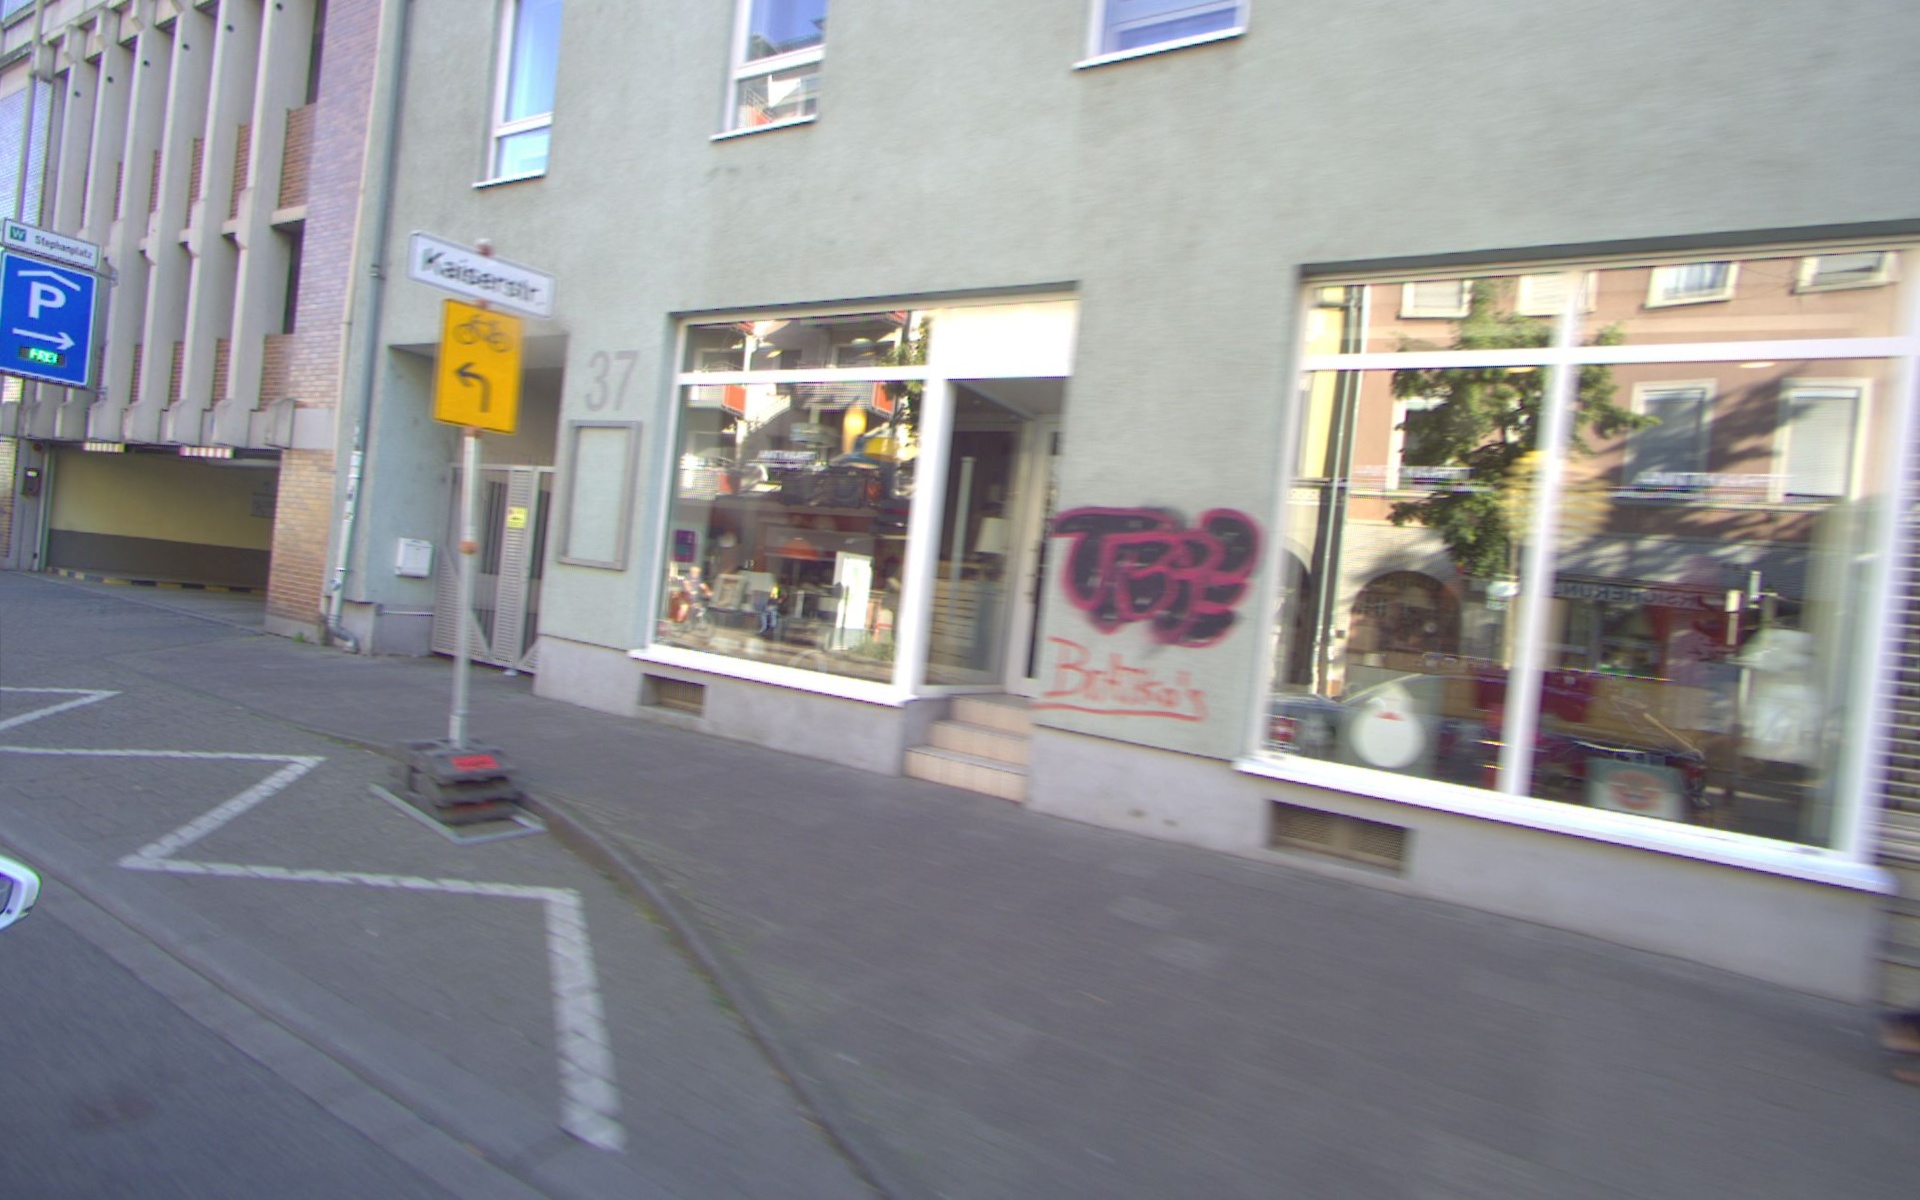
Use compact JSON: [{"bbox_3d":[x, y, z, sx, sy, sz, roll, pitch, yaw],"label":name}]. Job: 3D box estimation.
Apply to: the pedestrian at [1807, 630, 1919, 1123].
[{"bbox_3d":[3.599,0.946,3.300,1.003,1.581,0.580,7,4,30],"label":"pedestrian"}]
